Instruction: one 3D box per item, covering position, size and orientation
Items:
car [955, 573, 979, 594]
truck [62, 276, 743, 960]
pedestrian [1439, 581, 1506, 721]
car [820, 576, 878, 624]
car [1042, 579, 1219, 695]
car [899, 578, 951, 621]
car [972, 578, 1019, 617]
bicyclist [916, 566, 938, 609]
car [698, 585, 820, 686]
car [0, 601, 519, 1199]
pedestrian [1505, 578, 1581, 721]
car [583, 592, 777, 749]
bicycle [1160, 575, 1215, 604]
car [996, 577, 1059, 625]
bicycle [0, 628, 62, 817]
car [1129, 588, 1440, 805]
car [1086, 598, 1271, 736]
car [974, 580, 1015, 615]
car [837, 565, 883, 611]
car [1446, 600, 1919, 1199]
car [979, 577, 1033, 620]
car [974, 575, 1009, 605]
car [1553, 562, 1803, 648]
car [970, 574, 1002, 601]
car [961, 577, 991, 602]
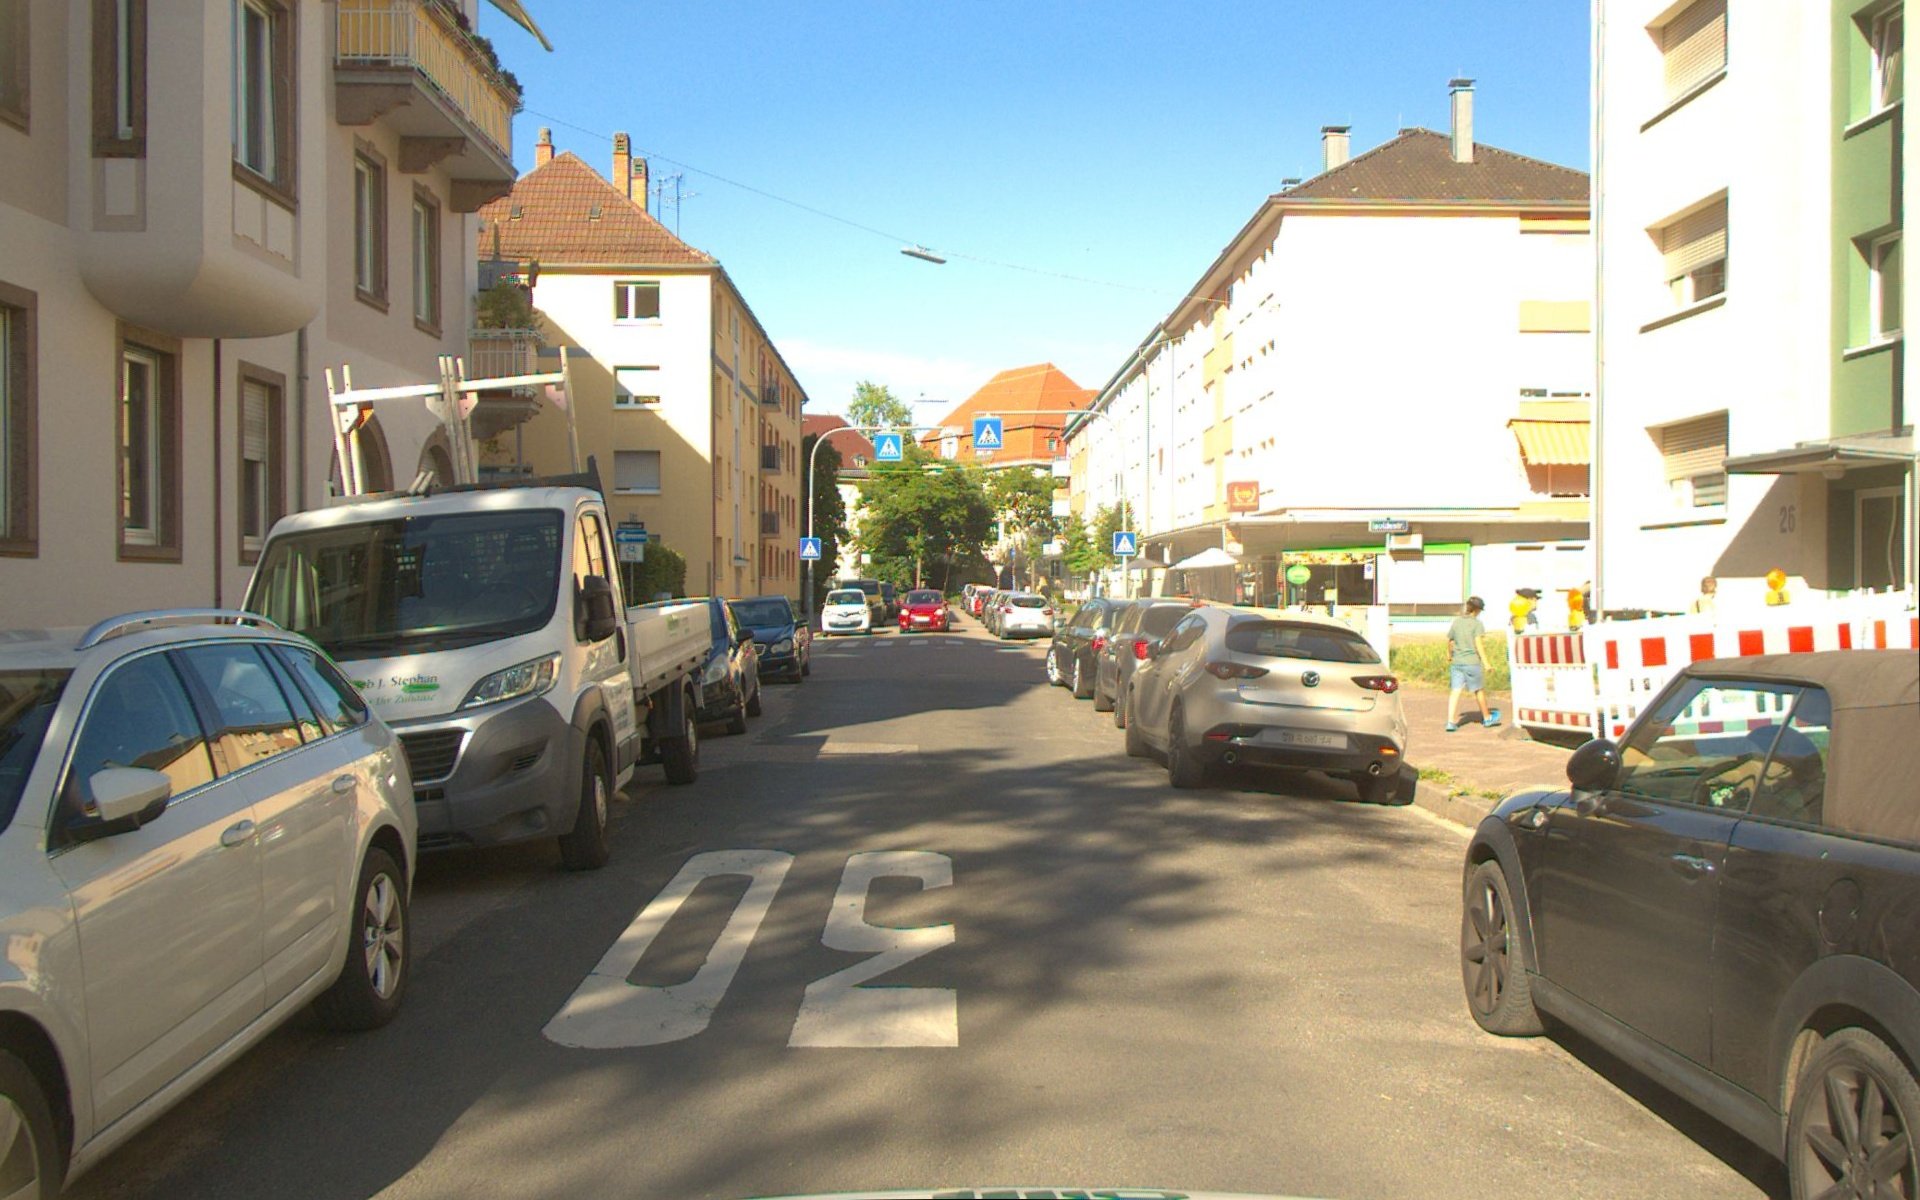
[{"bbox_3d":[0.470,-1.179,118.944,1.604,1.466,3.418,0,1,-2],"label":"car"},{"bbox_3d":[-3.116,0.051,11.504,2.214,3.037,7.273,-6,1,-2],"label":"truck"},{"bbox_3d":[5.471,0.532,17.665,0.447,1.458,0.501,-2,1,-38],"label":"pedestrian"},{"bbox_3d":[-3.808,-0.039,57.276,1.755,1.506,4.098,-1,1,-1],"label":"car"},{"bbox_3d":[2.439,0.498,24.842,1.817,1.550,4.773,1,0,-4],"label":"car"},{"bbox_3d":[-1.259,-0.029,58.005,1.664,1.466,3.416,0,1,-4],"label":"car"},{"bbox_3d":[1.345,-0.109,64.010,1.605,1.466,3.417,0,1,-2],"label":"car"},{"bbox_3d":[-1.315,-0.507,65.865,0.769,1.649,0.956,-2,1,3],"label":"bicyclist"},{"bbox_3d":[-3.312,0.553,27.968,1.670,1.440,4.371,-4,0,-3],"label":"car"},{"bbox_3d":[-2.688,0.931,4.616,1.757,1.567,4.639,-6,2,-3],"label":"car"},{"bbox_3d":[6.123,0.510,17.378,0.463,1.458,0.573,-2,1,-23],"label":"pedestrian"},{"bbox_3d":[-3.036,0.702,18.655,1.613,1.440,4.078,-4,0,-3],"label":"car"},{"bbox_3d":[7.794,-0.355,56.684,1.774,0.984,0.672,0,1,-12],"label":"bicycle"},{"bbox_3d":[2.138,0.004,53.069,1.808,1.466,3.418,0,1,-2],"label":"car"},{"bbox_3d":[-7.077,0.895,11.360,0.558,1.301,2.340,0,1,-1],"label":"bicycle"},{"bbox_3d":[2.626,0.705,14.435,1.756,1.496,4.338,4,0,0],"label":"car"},{"bbox_3d":[2.537,0.733,20.013,1.612,1.485,3.938,1,0,-2],"label":"car"},{"bbox_3d":[1.483,-0.129,72.781,1.605,1.466,3.417,0,1,-2],"label":"car"},{"bbox_3d":[-4.060,-0.512,67.517,1.663,1.810,4.098,0,1,-1],"label":"car"},{"bbox_3d":[2.789,0.812,4.714,1.654,1.492,3.582,4,0,0],"label":"car"},{"bbox_3d":[1.593,-0.082,57.715,1.656,1.466,3.417,0,1,-2],"label":"car"},{"bbox_3d":[1.602,-0.533,84.517,1.604,1.466,3.418,0,1,-2],"label":"car"},{"bbox_3d":[13.997,0.084,32.430,4.153,1.641,1.825,0,1,5],"label":"car"},{"bbox_3d":[1.411,-0.698,90.710,1.604,1.466,3.418,0,1,-2],"label":"car"},{"bbox_3d":[0.889,-0.617,95.249,1.604,1.466,3.418,0,1,-2],"label":"car"}]
